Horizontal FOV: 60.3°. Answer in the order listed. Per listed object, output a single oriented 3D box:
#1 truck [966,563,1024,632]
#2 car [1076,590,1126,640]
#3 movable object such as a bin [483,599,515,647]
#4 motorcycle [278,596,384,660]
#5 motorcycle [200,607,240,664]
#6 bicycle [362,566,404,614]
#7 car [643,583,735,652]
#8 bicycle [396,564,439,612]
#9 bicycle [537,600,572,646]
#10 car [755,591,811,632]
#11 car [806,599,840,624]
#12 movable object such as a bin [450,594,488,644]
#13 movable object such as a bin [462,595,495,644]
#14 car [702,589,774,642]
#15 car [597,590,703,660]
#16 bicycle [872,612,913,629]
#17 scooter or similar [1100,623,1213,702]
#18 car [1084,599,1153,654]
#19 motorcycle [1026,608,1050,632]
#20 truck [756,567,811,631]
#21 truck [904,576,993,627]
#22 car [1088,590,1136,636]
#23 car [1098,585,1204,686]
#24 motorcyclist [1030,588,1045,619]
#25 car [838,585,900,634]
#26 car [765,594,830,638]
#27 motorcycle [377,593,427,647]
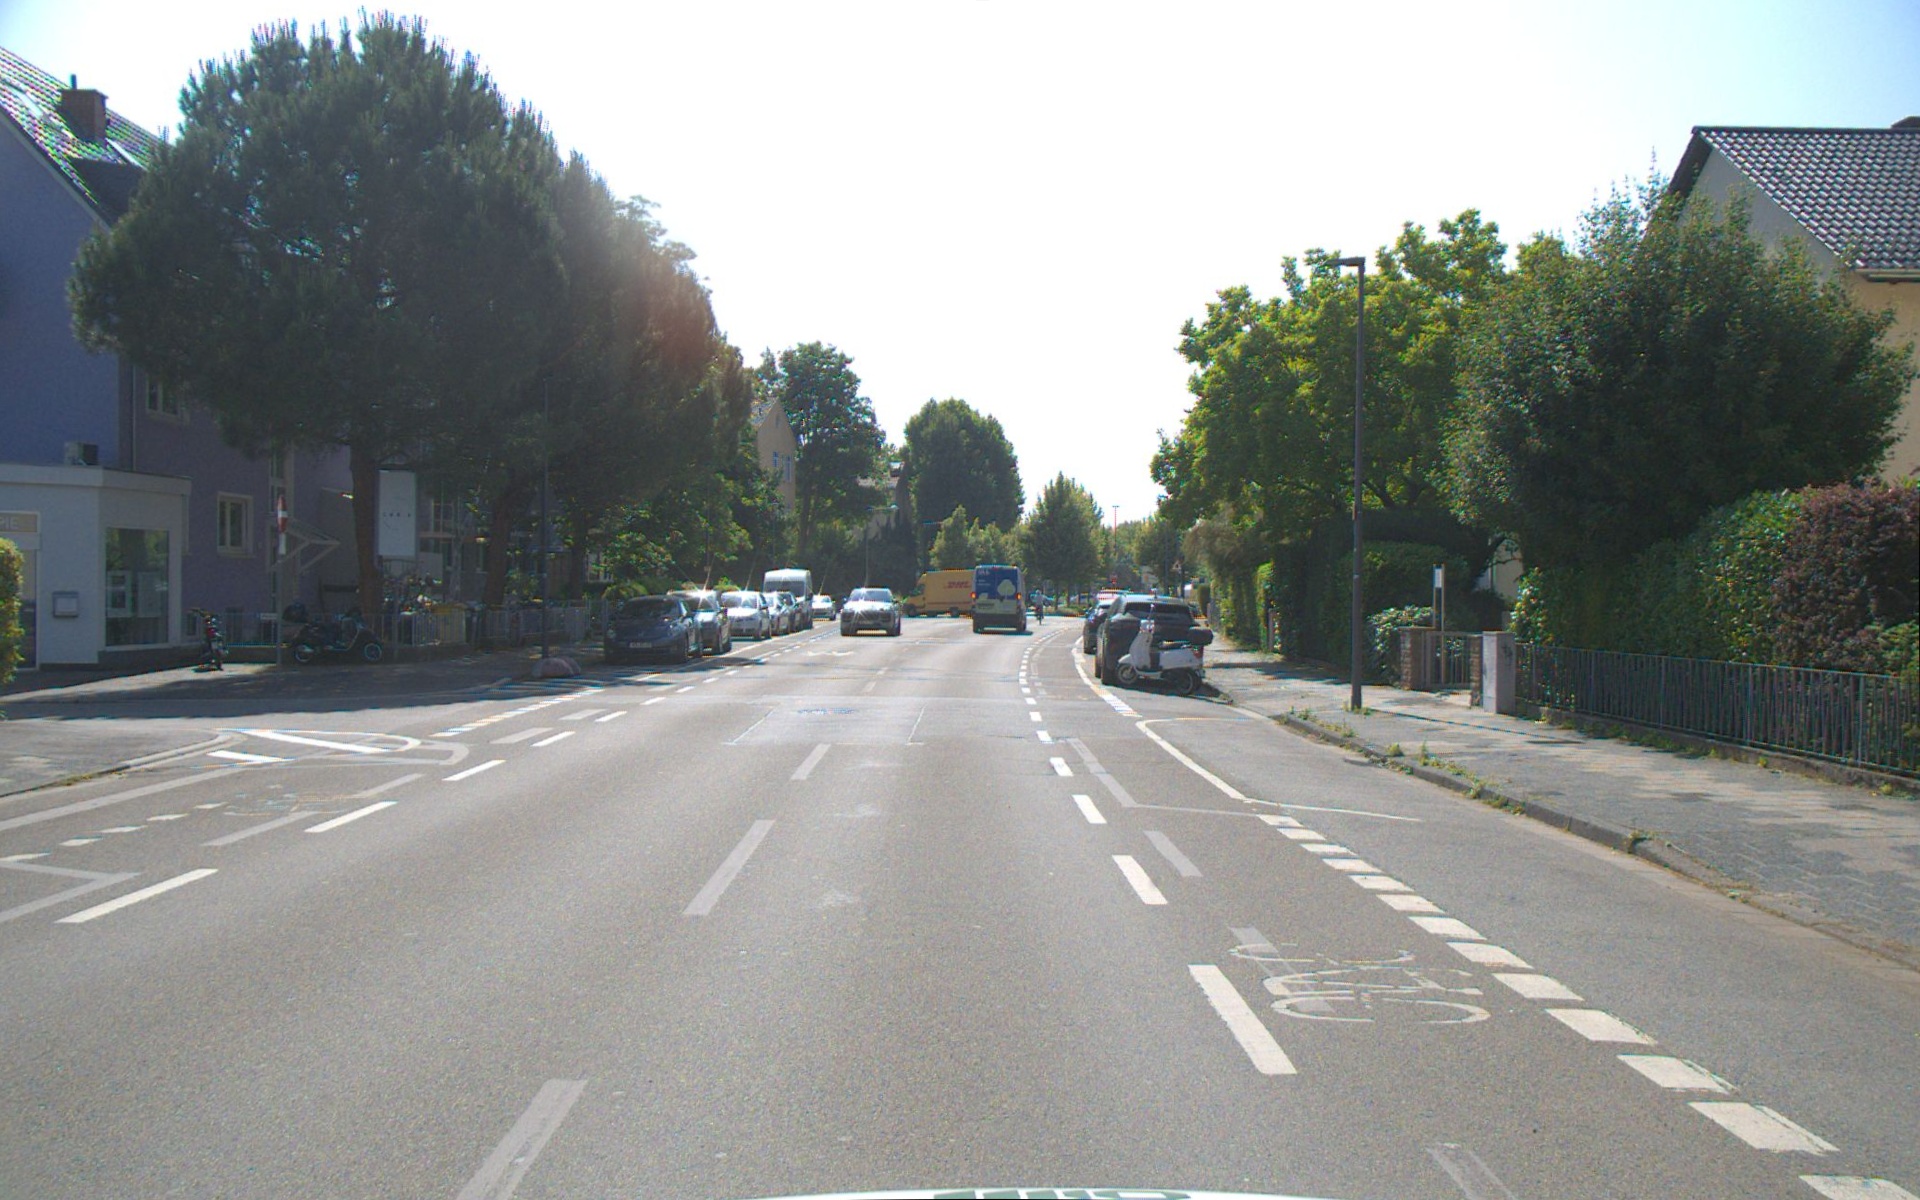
[{"bbox_3d":[1.423,-0.073,67.192,2.225,2.616,4.392,1,-1,1],"label":"truck"},{"bbox_3d":[5.167,0.550,60.385,1.664,1.706,3.777,2,0,6],"label":"car"},{"bbox_3d":[-11.139,0.551,39.949,0.532,1.131,0.585,1,-1,5],"label":"movable object such as a bin"},{"bbox_3d":[-12.378,0.547,32.570,1.800,1.202,0.643,1,-1,4],"label":"motorcycle"},{"bbox_3d":[-14.144,0.659,31.637,0.632,1.008,2.339,2,0,-24],"label":"motorcycle"},{"bbox_3d":[-14.794,-0.262,42.425,0.526,1.202,1.447,1,1,1],"label":"bicycle"},{"bbox_3d":[-7.015,0.427,43.168,1.870,1.706,4.256,0,0,-3],"label":"car"},{"bbox_3d":[-14.148,-0.304,43.169,0.525,1.202,1.447,1,-1,5],"label":"bicycle"},{"bbox_3d":[-10.730,0.608,43.761,0.365,1.166,1.977,1,-1,1],"label":"bicycle"},{"bbox_3d":[-6.934,0.463,64.975,1.718,1.522,3.654,1,0,1],"label":"car"},{"bbox_3d":[-7.695,0.644,92.997,1.719,1.367,3.652,2,0,-2],"label":"car"},{"bbox_3d":[-11.351,0.447,38.255,0.592,1.131,0.663,1,-1,5],"label":"movable object such as a bin"},{"bbox_3d":[-11.308,0.448,38.828,0.592,1.131,0.431,1,-1,5],"label":"movable object such as a bin"},{"bbox_3d":[-7.236,0.522,54.222,1.797,1.623,3.775,2,-1,1],"label":"car"},{"bbox_3d":[-6.942,0.530,37.415,1.745,1.485,4.084,0,0,-2],"label":"car"},{"bbox_3d":[-4.462,1.330,109.135,2.638,1.066,1.024,2,-1,-9],"label":"bicycle"},{"bbox_3d":[3.353,1.063,28.323,1.767,1.174,0.715,5,-1,44],"label":"scooter or similar"},{"bbox_3d":[4.372,0.729,46.114,1.747,1.424,4.326,2,0,4],"label":"car"},{"bbox_3d":[3.921,1.007,83.478,1.035,1.142,2.991,2,-1,-1],"label":"motorcycle"},{"bbox_3d":[-7.503,-0.042,70.745,2.039,2.582,5.463,2,0,-4],"label":"truck"},{"bbox_3d":[-0.736,0.045,101.224,2.205,2.998,5.593,2,-1,-44],"label":"truck"},{"bbox_3d":[5.981,0.506,65.503,1.665,1.706,3.776,2,0,2],"label":"car"},{"bbox_3d":[3.605,0.646,31.199,1.747,1.666,4.473,3,0,7],"label":"car"},{"bbox_3d":[3.909,0.168,83.486,0.658,1.545,0.652,1,-1,0],"label":"motorcyclist"},{"bbox_3d":[-3.308,0.359,60.906,1.953,1.686,4.604,2,0,0],"label":"car"},{"bbox_3d":[-5.904,0.565,60.316,1.796,1.522,3.655,2,0,3],"label":"car"},{"bbox_3d":[-12.859,0.462,38.126,0.525,1.202,1.447,1,-1,5],"label":"motorcycle"}]
